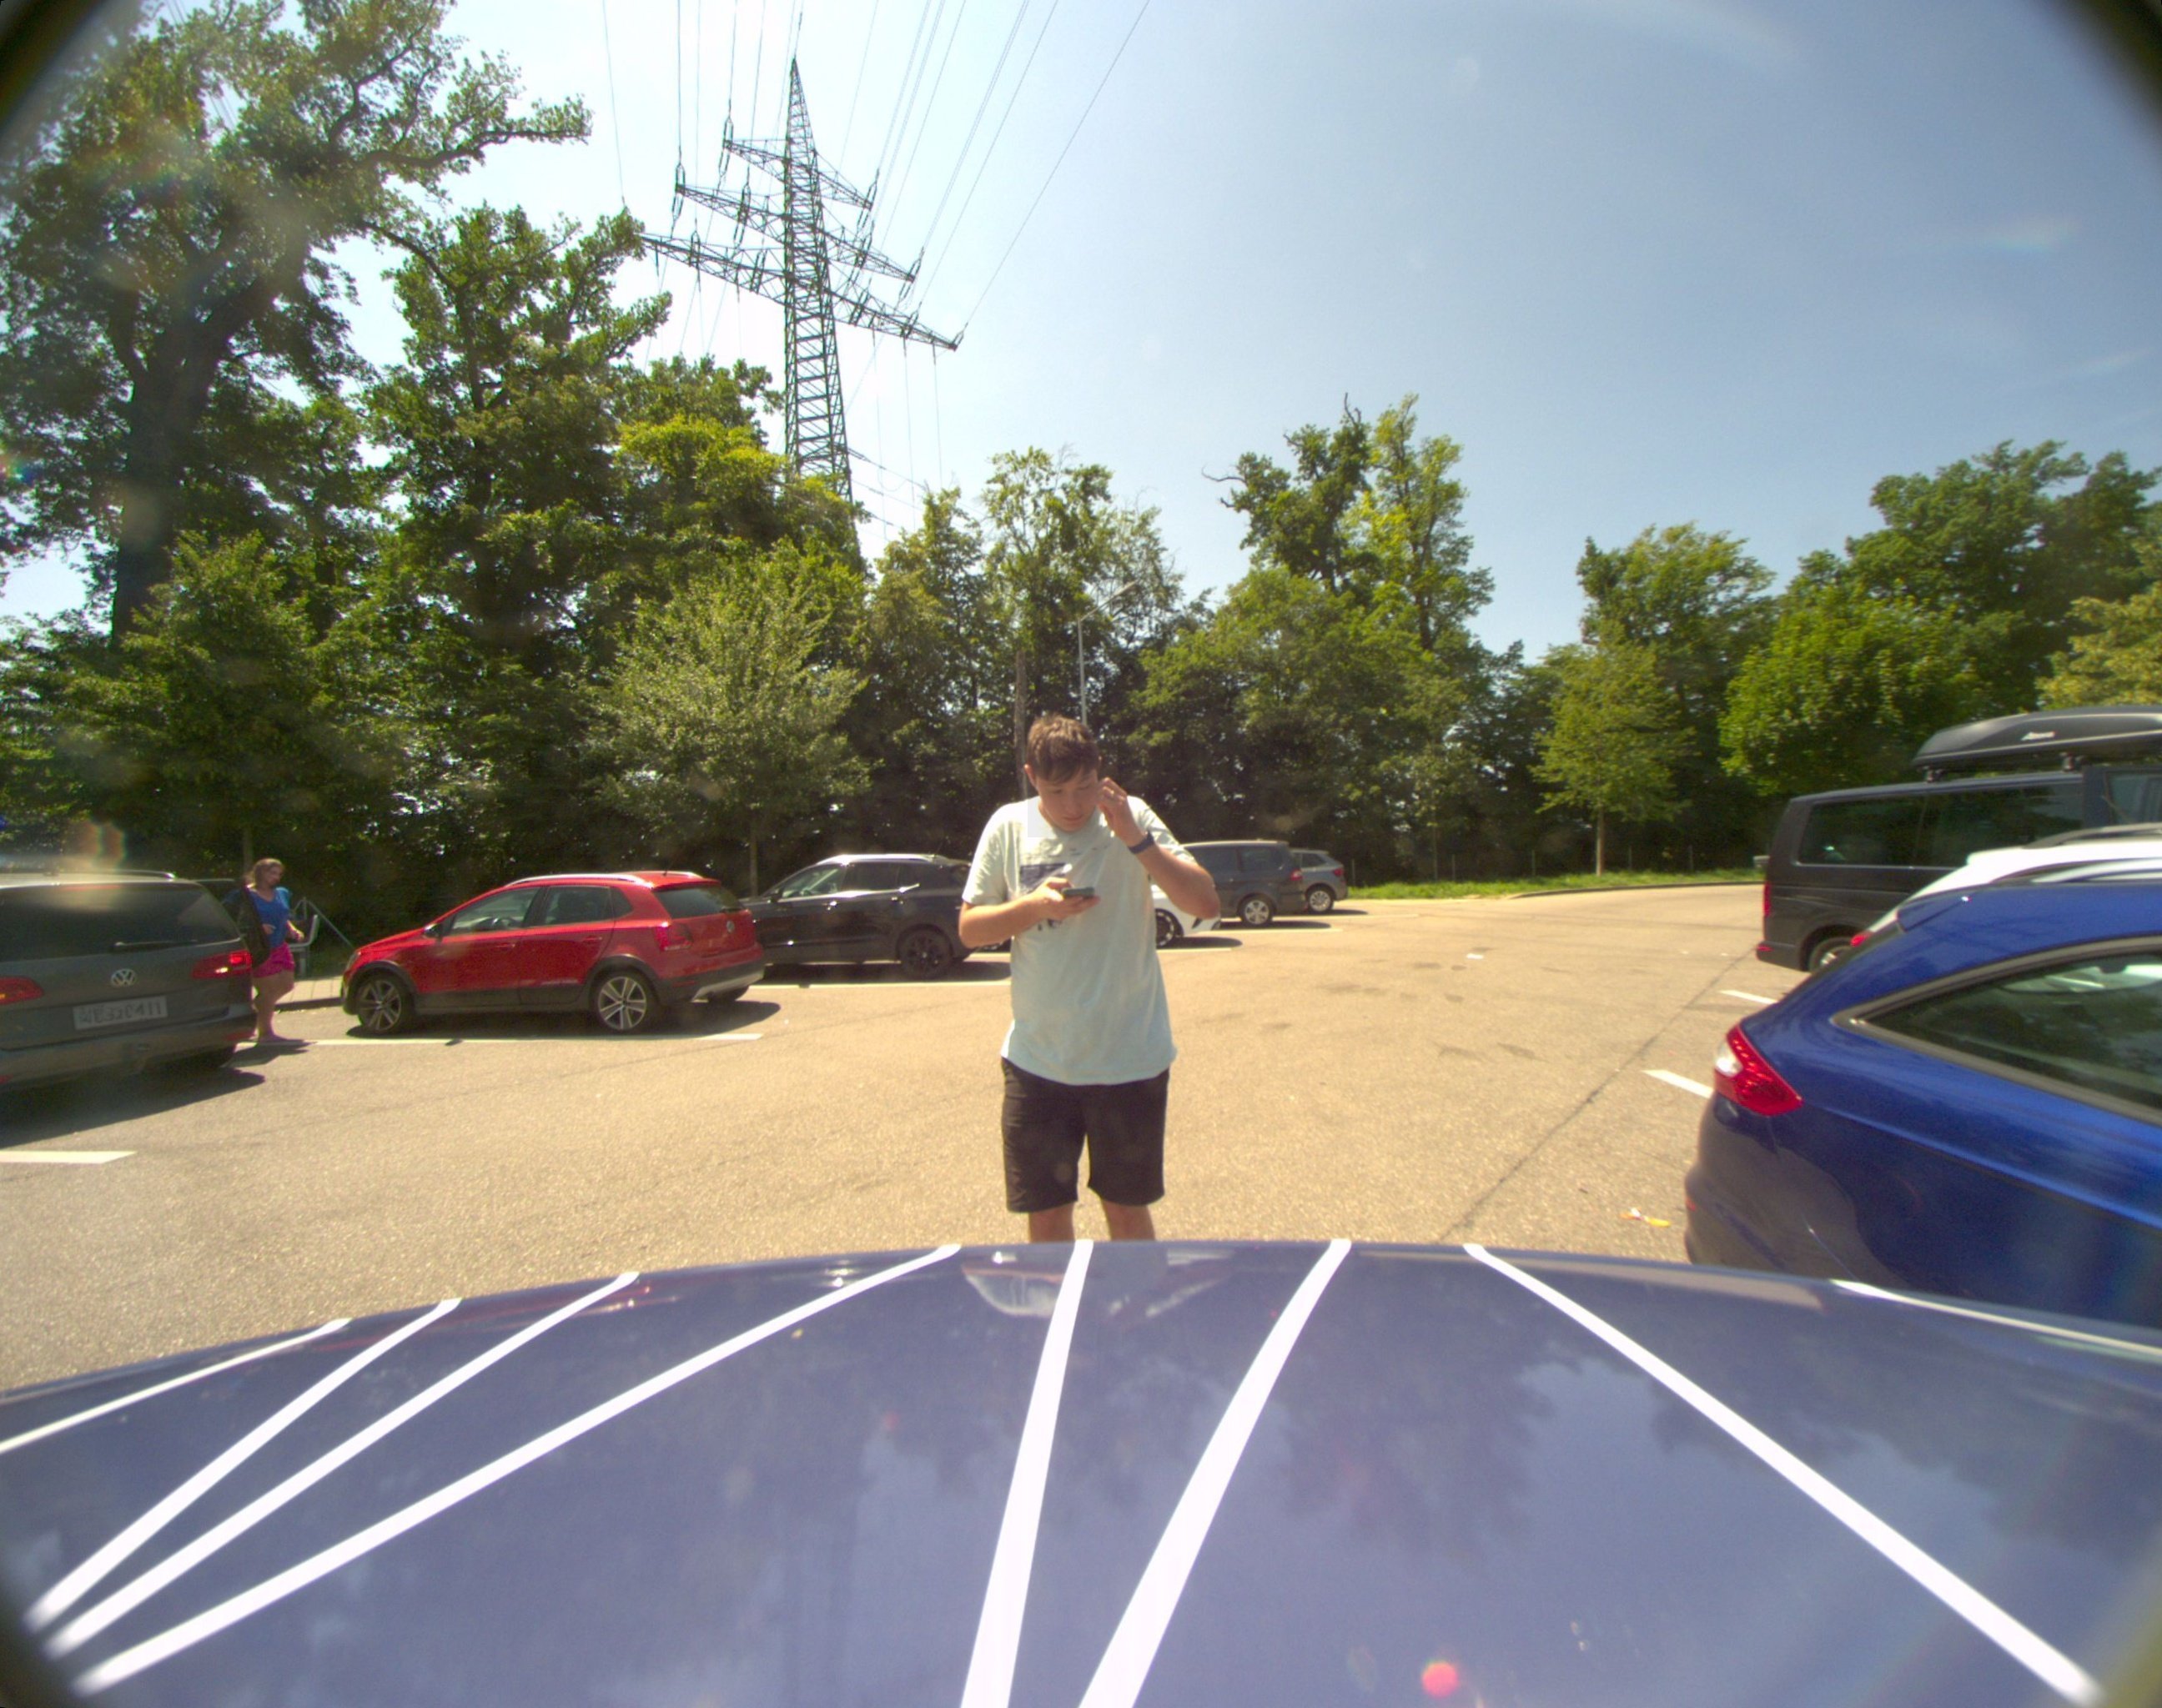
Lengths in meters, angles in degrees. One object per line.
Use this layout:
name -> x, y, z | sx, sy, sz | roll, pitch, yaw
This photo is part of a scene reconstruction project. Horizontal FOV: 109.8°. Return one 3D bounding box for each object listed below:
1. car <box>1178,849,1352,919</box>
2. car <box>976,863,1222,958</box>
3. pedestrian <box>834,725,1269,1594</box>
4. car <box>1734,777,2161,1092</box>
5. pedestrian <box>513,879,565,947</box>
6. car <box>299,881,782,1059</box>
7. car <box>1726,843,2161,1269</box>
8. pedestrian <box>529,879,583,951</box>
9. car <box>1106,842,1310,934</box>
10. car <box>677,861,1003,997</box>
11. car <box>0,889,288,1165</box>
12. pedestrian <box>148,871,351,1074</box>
car -> 4.324, 0.692, 18.150 | 3.818, 1.530, 1.722 | -1, 1, 12
car -> 0.349, 0.903, 12.721 | 3.819, 1.377, 1.722 | -1, 1, 6
pedestrian -> -0.030, 0.661, 1.960 | 0.889, 1.831, 0.622 | -2, 1, 9
car -> 7.307, 0.438, 4.909 | 1.961, 1.858, 4.642 | -3, -1, -3
pedestrian -> -10.918, 1.171, 15.304 | 0.782, 1.287, 0.670 | -1, 2, 45
car -> -5.253, 1.071, 7.645 | 3.785, 1.457, 1.722 | -1, 1, 9
car -> 4.860, 0.726, 2.279 | 1.741, 1.524, 4.642 | -3, -1, -2
pedestrian -> -10.024, 1.145, 14.504 | 0.782, 1.287, 0.670 | -1, 2, 45
car -> 2.572, 0.670, 15.447 | 3.818, 1.714, 1.722 | -1, 1, 12
car -> -3.081, 0.941, 10.255 | 3.787, 1.564, 1.721 | -1, 1, 2
car -> -8.305, 1.113, 5.435 | 3.985, 1.572, 1.749 | -1, 1, 12
pedestrian -> -7.488, 1.022, 6.889 | 0.733, 1.672, 0.920 | -2, 1, 12
